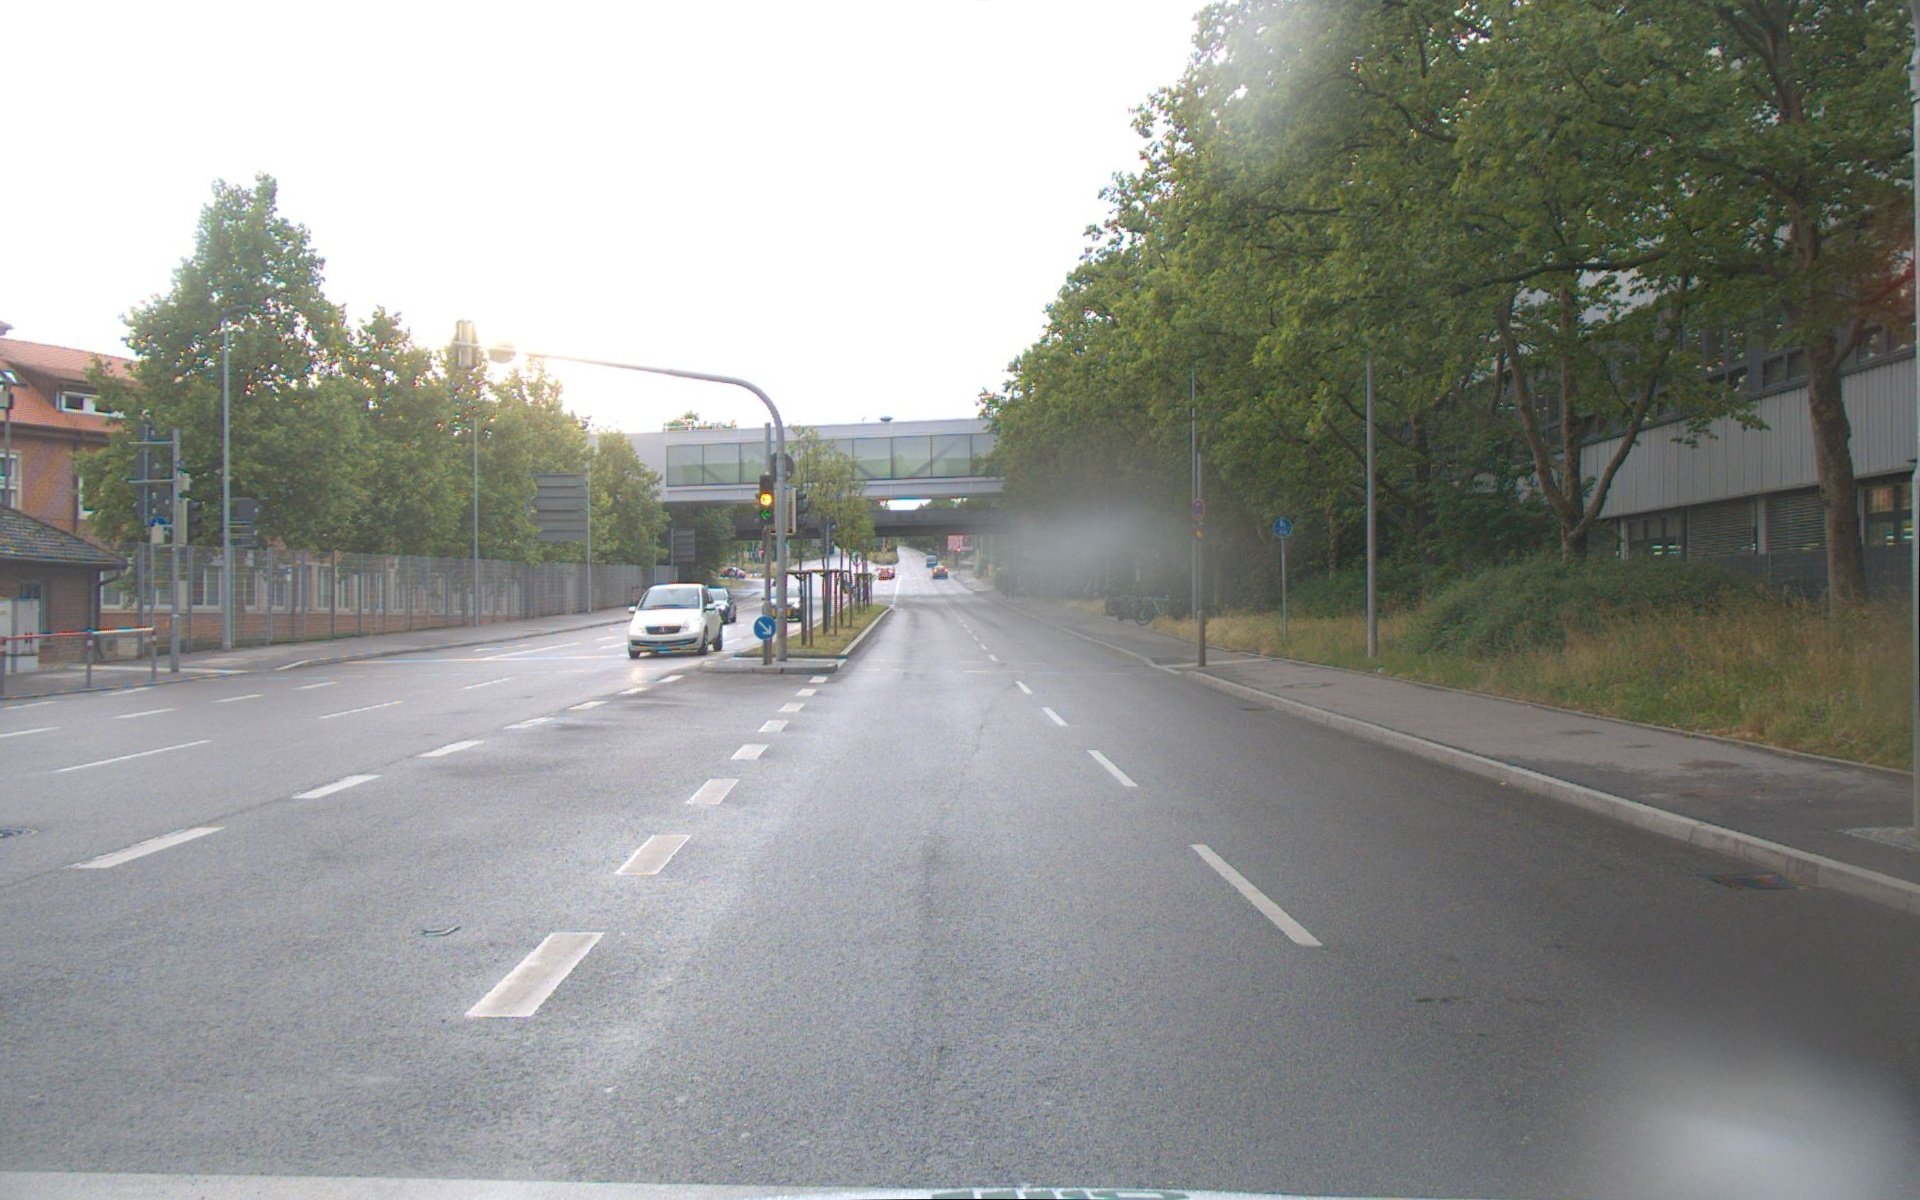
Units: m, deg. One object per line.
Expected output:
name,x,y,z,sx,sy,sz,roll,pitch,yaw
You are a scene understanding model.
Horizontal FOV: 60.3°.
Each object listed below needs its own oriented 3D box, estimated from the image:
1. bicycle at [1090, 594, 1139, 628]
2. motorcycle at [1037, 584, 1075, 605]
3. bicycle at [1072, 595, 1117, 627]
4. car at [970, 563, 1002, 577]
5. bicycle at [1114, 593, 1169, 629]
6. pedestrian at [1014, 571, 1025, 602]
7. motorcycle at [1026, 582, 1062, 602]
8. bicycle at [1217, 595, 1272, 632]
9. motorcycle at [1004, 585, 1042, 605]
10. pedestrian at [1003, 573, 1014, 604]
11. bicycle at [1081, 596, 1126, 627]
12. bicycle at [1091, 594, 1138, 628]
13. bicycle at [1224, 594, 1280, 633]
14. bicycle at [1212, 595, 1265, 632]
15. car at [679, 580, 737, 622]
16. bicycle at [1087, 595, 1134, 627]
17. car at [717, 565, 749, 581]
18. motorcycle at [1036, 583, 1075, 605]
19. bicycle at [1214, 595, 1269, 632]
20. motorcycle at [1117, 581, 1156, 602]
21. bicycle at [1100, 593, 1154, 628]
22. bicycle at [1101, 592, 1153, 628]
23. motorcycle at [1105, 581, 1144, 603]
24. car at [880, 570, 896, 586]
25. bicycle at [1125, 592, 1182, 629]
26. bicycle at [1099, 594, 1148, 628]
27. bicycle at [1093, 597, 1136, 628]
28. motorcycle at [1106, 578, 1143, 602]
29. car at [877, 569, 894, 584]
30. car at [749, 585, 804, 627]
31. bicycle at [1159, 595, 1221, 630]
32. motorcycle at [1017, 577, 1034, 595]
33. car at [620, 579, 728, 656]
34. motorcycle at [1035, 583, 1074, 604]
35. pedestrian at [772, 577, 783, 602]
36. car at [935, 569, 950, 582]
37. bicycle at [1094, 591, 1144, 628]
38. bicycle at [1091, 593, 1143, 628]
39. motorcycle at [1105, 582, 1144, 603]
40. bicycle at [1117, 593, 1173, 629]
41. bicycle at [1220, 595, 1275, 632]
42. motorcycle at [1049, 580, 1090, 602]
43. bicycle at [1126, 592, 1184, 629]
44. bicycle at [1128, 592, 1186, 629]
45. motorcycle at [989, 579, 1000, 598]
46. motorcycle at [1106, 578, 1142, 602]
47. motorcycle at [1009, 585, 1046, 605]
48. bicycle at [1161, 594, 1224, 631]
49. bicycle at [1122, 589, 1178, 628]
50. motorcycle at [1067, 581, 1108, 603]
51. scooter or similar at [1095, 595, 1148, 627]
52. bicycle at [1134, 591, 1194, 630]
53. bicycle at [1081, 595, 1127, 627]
bicycle,6.449,0.462,69.209,1.949,1.352,0.576,2,-1,0
motorcycle,5.903,-0.358,101.625,2.318,1.223,0.723,-1,0,7
bicycle,5.995,0.493,73.645,1.923,1.352,0.654,2,-1,0
car,3.690,-4.316,236.775,4.419,1.792,1.904,2,-1,-2
bicycle,6.790,0.409,61.884,1.949,1.263,0.541,2,-1,0
pedestrian,3.959,-0.911,110.122,0.609,2.049,0.605,-1,0,-1
motorcycle,5.502,-0.527,108.264,2.318,1.223,0.793,-1,0,7
bicycle,10.786,0.516,62.759,1.949,1.352,0.576,2,-1,0
motorcycle,4.027,-0.328,105.187,2.318,1.223,0.723,-1,0,7
pedestrian,3.238,-0.754,110.405,0.609,2.049,0.605,-1,0,-1
bicycle,6.449,0.518,74.456,1.923,1.352,0.654,2,-1,0
bicycle,6.569,0.469,70.448,1.920,1.352,0.576,2,-1,0
bicycle,10.825,0.498,61.331,1.949,1.352,0.576,2,-1,0
bicycle,10.790,0.533,64.076,1.949,1.352,0.576,2,-1,0
car,-10.406,0.039,68.433,1.839,1.653,3.778,-1,0,-1
bicycle,6.474,0.475,71.137,1.923,1.352,0.654,2,-1,0
car,-30.616,-3.680,222.970,3.916,2.049,1.994,1,-1,33
motorcycle,5.796,-0.368,100.708,2.318,1.223,0.723,-1,0,7
bicycle,10.790,0.524,63.407,1.949,1.352,0.576,2,-1,0
motorcycle,10.590,-0.522,99.178,2.318,1.223,0.723,-1,0,7
bicycle,6.379,0.414,63.252,1.949,1.263,0.541,2,-1,0
bicycle,6.587,0.413,65.160,1.949,1.352,0.576,2,-1,0
motorcycle,9.974,-0.489,100.318,2.318,1.223,0.723,-1,0,7
car,-9.156,-2.818,211.380,1.846,1.792,3.968,2,-1,-1
bicycle,6.933,0.381,59.397,1.949,1.263,0.541,2,-1,0
bicycle,6.781,0.451,68.503,1.949,1.352,0.576,2,-1,0
bicycle,7.091,0.558,75.968,1.923,1.352,0.654,2,-1,0
motorcycle,10.676,-0.655,107.200,2.318,1.502,0.723,-1,0,7
car,-9.271,-2.914,206.595,1.953,1.792,3.999,2,-1,-1
car,-7.538,0.235,68.207,1.839,1.653,3.778,-1,0,-1
bicycle,7.586,0.413,54.530,1.949,1.114,0.541,2,-1,0
motorcycle,4.857,-1.021,121.916,0.775,1.334,2.371,-1,0,-9
car,-6.521,0.373,38.060,1.839,1.653,3.778,-1,0,-1
motorcycle,5.696,-0.391,99.849,2.318,1.223,0.723,-1,0,7
pedestrian,-14.832,-0.838,134.310,0.855,2.039,0.854,-1,0,-5
car,-2.144,-2.987,202.996,1.837,1.523,4.067,2,-1,-1
bicycle,6.500,0.379,67.645,1.949,1.455,0.723,2,-1,0
bicycle,6.258,0.413,65.964,1.949,1.352,0.576,2,-1,0
motorcycle,10.080,-0.453,101.122,2.318,1.223,0.723,-1,0,7
bicycle,6.808,0.397,60.936,1.949,1.263,0.541,2,-1,0
bicycle,10.795,0.507,62.094,1.949,1.352,0.576,2,-1,0
motorcycle,6.311,-0.503,95.417,2.318,1.223,0.723,-1,0,7
bicycle,6.934,0.374,58.828,1.949,1.263,0.541,2,-1,0
bicycle,6.929,0.369,58.168,1.949,1.255,0.541,2,-1,0
motorcycle,2.985,-1.007,144.497,0.774,1.560,2.375,-1,0,-2
motorcycle,10.762,-0.681,108.437,2.318,1.502,0.723,-1,0,7
motorcycle,4.357,-0.325,106.637,2.318,1.223,0.723,-1,0,7
bicycle,7.594,0.406,53.961,1.949,1.114,0.541,2,-1,0
bicycle,6.913,0.324,60.246,1.949,1.364,0.541,2,-1,0
motorcycle,7.474,-0.485,96.910,2.318,1.223,0.723,-1,0,7
scooter or similar,6.249,0.429,63.987,1.949,1.157,0.541,2,-1,0
bicycle,6.897,0.348,55.979,1.949,1.237,0.541,2,-1,0
bicycle,6.333,0.492,72.736,1.923,1.352,0.654,2,-1,0
